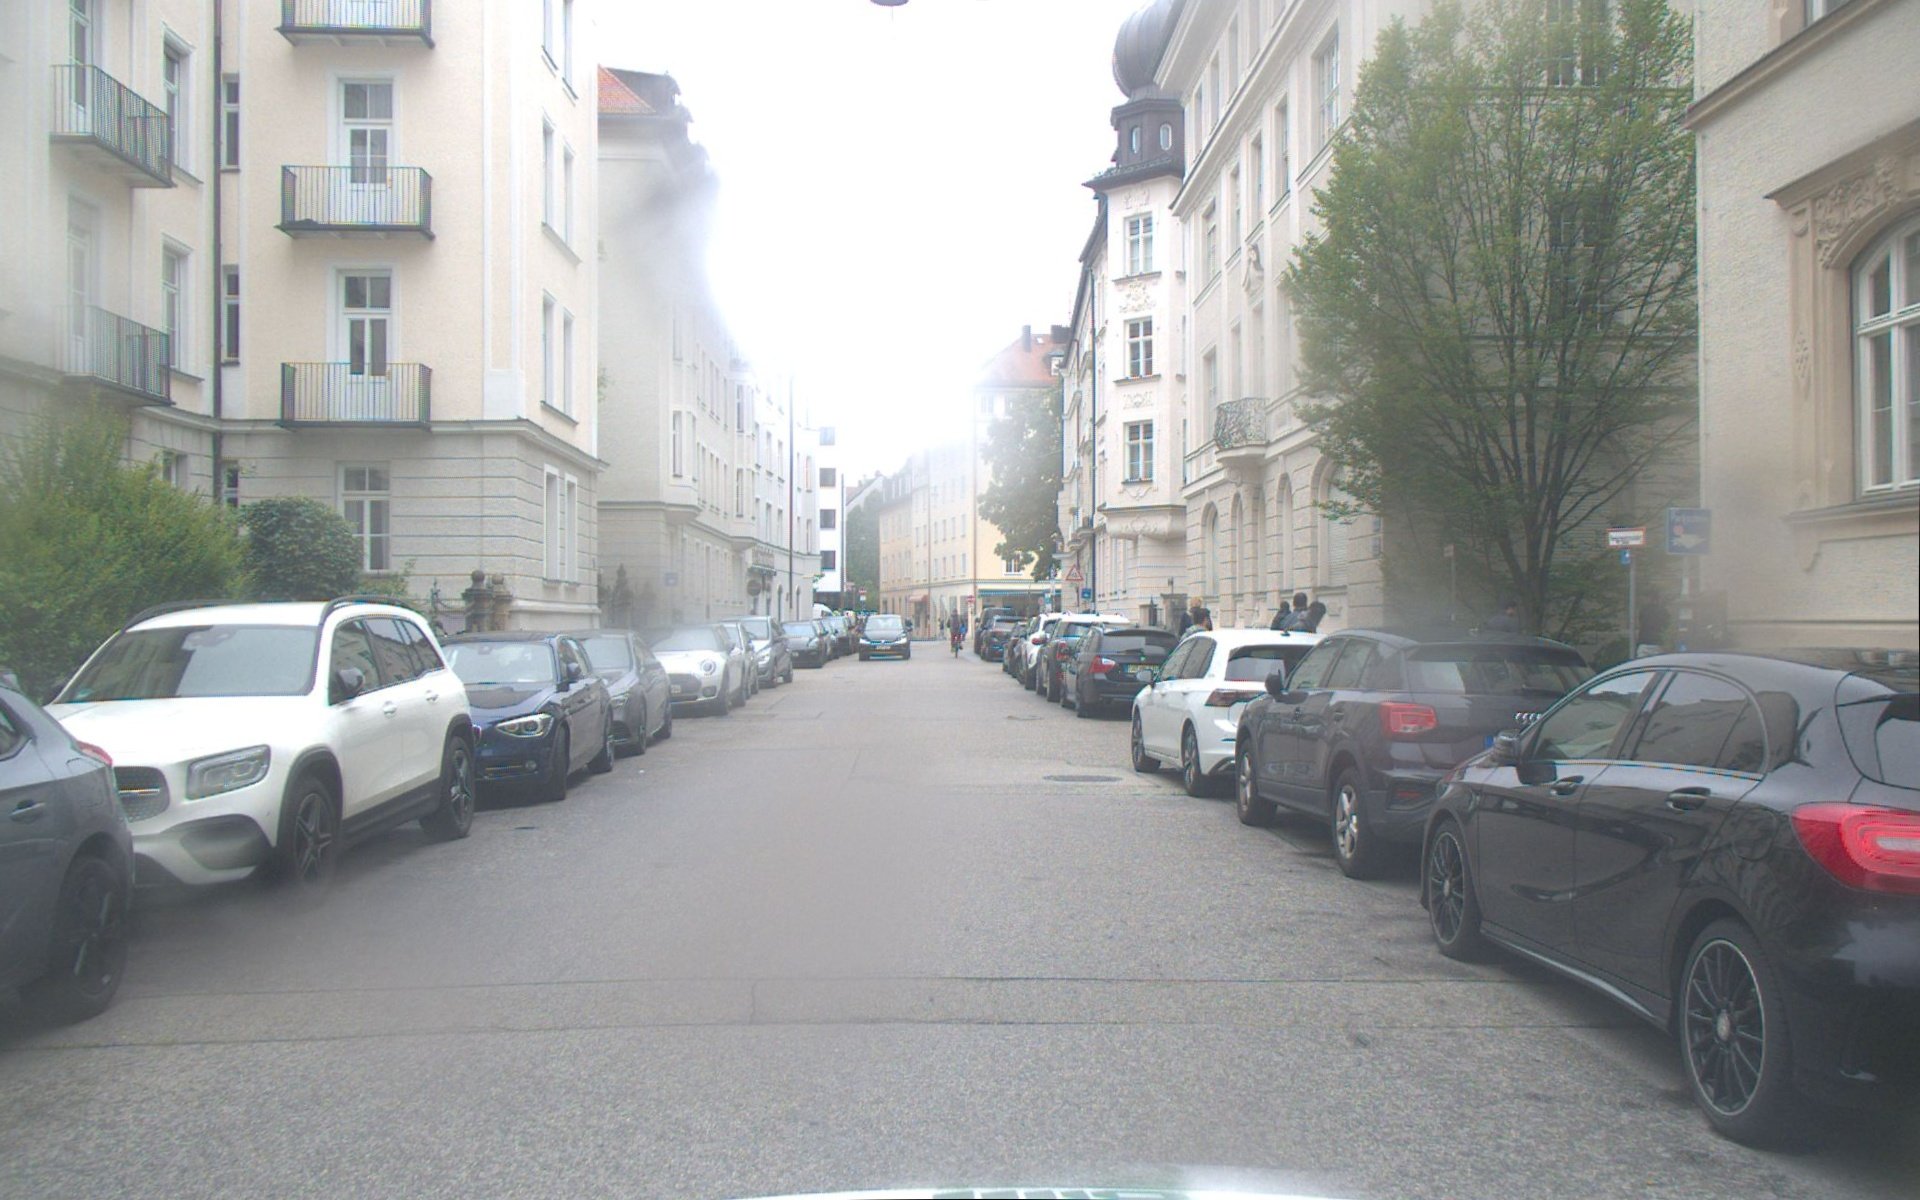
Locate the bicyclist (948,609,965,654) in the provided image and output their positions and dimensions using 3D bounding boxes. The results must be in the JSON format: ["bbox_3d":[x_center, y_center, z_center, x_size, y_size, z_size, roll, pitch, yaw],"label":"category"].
[{"bbox_3d":[-0.124,1.176,61.328,0.593,1.635,0.757,-1,0,2],"label":"bicyclist"}]

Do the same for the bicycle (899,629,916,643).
[{"bbox_3d":[-3.999,2.733,125.874,0.833,1.019,2.161,0,0,-15],"label":"bicycle"}]

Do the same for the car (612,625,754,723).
[{"bbox_3d":[-4.474,1.153,27.236,1.761,1.460,4.078,0,-1,-2],"label":"car"}]

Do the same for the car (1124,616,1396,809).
[{"bbox_3d":[2.693,0.948,15.754,1.630,1.534,4.061,0,0,-4],"label":"car"}]

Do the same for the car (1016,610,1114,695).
[{"bbox_3d":[2.255,1.106,36.614,1.857,1.665,4.391,-1,0,0],"label":"car"}]

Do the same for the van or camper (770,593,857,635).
[{"bbox_3d":[-9.970,0.973,112.506,5.796,2.724,1.869,-1,-2,-9],"label":"van or camper"}]

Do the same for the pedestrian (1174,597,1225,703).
[{"bbox_3d":[4.219,0.867,29.159,0.668,1.806,0.855,-3,0,-1],"label":"pedestrian"}]

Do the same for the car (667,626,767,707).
[{"bbox_3d":[-4.835,1.295,33.315,1.612,1.427,3.997,-3,0,-4],"label":"car"}]

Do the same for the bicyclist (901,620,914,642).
[{"bbox_3d":[-3.972,2.348,125.762,0.768,1.666,0.972,0,-1,-15],"label":"bicyclist"}]

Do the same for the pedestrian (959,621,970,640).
[{"bbox_3d":[0.328,2.210,119.586,0.684,1.293,0.651,-1,-1,3],"label":"pedestrian"}]

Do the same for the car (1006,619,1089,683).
[{"bbox_3d":[2.197,1.270,42.377,1.674,1.527,3.997,0,-1,-4],"label":"car"}]

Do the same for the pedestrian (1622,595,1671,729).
[{"bbox_3d":[9.575,0.852,23.058,0.542,1.826,0.573,-1,-1,29],"label":"pedestrian"}]

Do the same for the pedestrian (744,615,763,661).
[{"bbox_3d":[-7.911,1.458,63.356,0.684,1.737,0.665,0,-1,-4],"label":"pedestrian"}]

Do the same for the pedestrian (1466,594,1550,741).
[{"bbox_3d":[7.024,0.850,21.221,0.842,1.849,0.678,0,0,-2],"label":"pedestrian"}]

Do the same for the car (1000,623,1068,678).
[{"bbox_3d":[2.038,1.377,46.533,1.580,1.419,3.998,1,0,-2],"label":"car"}]

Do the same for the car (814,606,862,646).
[{"bbox_3d":[-4.839,1.010,65.973,1.706,1.513,4.179,-1,0,-2],"label":"car"}]

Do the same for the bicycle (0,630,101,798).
[{"bbox_3d":[-8.105,0.941,13.621,0.740,1.320,2.530,-2,0,-1],"label":"bicycle"}]

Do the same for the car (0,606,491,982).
[{"bbox_3d":[-4.255,0.904,9.802,1.770,1.677,4.483,-2,0,-2],"label":"car"}]

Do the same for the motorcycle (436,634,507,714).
[{"bbox_3d":[-8.170,1.220,27.712,0.690,1.271,1.820,1,-1,-2],"label":"motorcycle"}]

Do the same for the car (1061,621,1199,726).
[{"bbox_3d":[2.643,1.113,26.542,1.676,1.477,4.223,0,0,-2],"label":"car"}]

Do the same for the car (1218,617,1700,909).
[{"bbox_3d":[3.125,0.940,11.304,1.756,1.524,4.078,2,0,-5],"label":"car"}]

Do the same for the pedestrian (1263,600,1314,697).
[{"bbox_3d":[6.002,0.878,30.250,0.668,1.708,0.812,-3,0,-2],"label":"pedestrian"}]

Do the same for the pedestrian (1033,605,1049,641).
[{"bbox_3d":[4.027,1.139,82.666,0.689,1.758,0.703,-1,0,-4],"label":"pedestrian"}]

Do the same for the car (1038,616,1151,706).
[{"bbox_3d":[2.446,1.080,30.944,1.713,1.551,4.169,0,0,-1],"label":"car"}]

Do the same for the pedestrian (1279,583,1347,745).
[{"bbox_3d":[4.004,0.714,18.786,0.615,1.800,0.672,0,0,-1],"label":"pedestrian"}]

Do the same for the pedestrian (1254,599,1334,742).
[{"bbox_3d":[4.279,0.887,21.232,0.864,1.800,0.672,0,0,-2],"label":"pedestrian"}]

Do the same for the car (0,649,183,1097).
[{"bbox_3d":[-4.002,0.965,4.904,1.610,1.455,3.917,-3,0,-3],"label":"car"}]

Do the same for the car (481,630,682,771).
[{"bbox_3d":[-4.446,1.121,19.998,1.701,1.388,4.189,-2,0,-4],"label":"car"}]

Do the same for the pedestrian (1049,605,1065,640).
[{"bbox_3d":[4.888,1.128,83.084,0.666,1.703,0.654,-3,0,-4],"label":"pedestrian"}]

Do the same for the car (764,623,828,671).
[{"bbox_3d":[-5.097,1.429,51.936,1.813,1.391,4.699,0,0,-3],"label":"car"}]

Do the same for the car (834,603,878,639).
[{"bbox_3d":[-5.206,1.038,83.160,1.805,1.788,4.001,-1,0,1],"label":"car"}]

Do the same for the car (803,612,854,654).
[{"bbox_3d":[-4.865,1.199,61.026,1.775,1.409,4.439,-2,0,-5],"label":"car"}]

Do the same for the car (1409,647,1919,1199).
[{"bbox_3d":[3.128,0.930,6.257,1.706,1.422,4.021,2,-1,-1],"label":"car"}]

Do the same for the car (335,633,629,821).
[{"bbox_3d":[-4.155,1.035,15.008,1.733,1.445,3.996,0,-1,-4],"label":"car"}]

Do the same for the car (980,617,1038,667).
[{"bbox_3d":[1.667,1.421,57.639,1.673,1.615,3.998,1,0,-3],"label":"car"}]

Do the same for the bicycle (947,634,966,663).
[{"bbox_3d":[-0.120,1.778,61.247,0.626,1.022,1.575,-1,-1,3],"label":"bicycle"}]

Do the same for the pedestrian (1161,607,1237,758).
[{"bbox_3d":[2.738,0.925,18.918,0.832,1.687,0.867,0,-1,9],"label":"pedestrian"}]

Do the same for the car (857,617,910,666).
[{"bbox_3d":[-2.675,1.440,58.520,1.689,1.560,4.084,-3,-1,-1],"label":"car"}]

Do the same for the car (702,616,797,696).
[{"bbox_3d":[-4.786,1.244,38.126,1.662,1.608,4.061,-3,0,-1],"label":"car"}]
